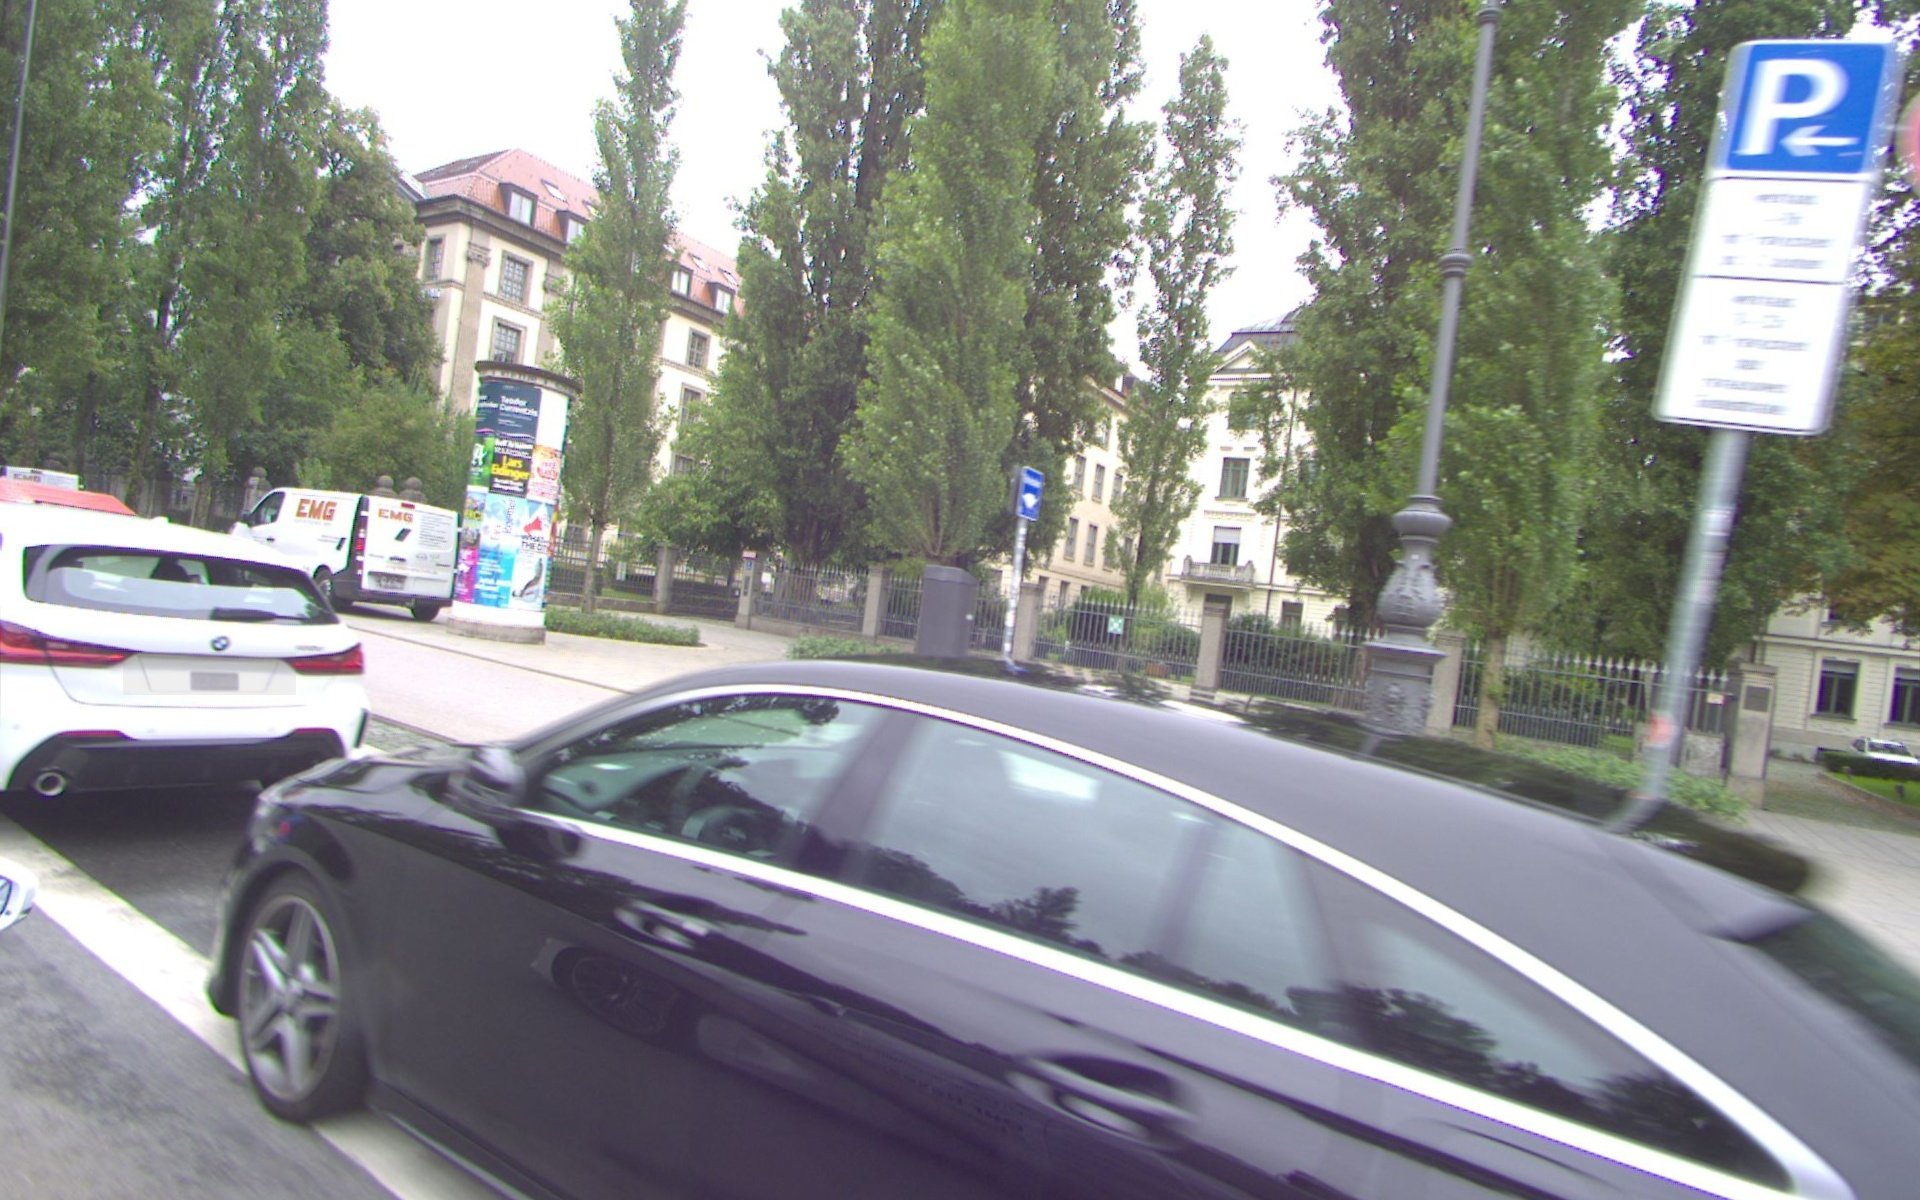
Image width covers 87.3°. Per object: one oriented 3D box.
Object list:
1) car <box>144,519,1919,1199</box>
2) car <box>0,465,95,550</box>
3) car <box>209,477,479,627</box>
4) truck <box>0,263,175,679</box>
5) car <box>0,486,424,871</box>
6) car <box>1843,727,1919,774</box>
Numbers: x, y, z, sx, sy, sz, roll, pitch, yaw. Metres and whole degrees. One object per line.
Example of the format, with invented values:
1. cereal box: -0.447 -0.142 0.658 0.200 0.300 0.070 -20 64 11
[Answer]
1. car: -0.075 0.718 2.469 4.300 1.326 1.737 7 0 34
2. car: -26.780 -2.712 28.554 5.001 1.969 1.996 7 -1 34
3. car: -10.852 -0.881 17.627 4.804 1.967 1.885 7 -2 32
4. truck: -11.826 -1.527 10.231 10.257 3.148 2.716 7 0 33
5. car: -5.044 0.161 5.531 4.148 1.477 1.791 7 -1 33
6. car: 38.649 6.257 41.962 1.968 1.457 4.519 7 -1 34
